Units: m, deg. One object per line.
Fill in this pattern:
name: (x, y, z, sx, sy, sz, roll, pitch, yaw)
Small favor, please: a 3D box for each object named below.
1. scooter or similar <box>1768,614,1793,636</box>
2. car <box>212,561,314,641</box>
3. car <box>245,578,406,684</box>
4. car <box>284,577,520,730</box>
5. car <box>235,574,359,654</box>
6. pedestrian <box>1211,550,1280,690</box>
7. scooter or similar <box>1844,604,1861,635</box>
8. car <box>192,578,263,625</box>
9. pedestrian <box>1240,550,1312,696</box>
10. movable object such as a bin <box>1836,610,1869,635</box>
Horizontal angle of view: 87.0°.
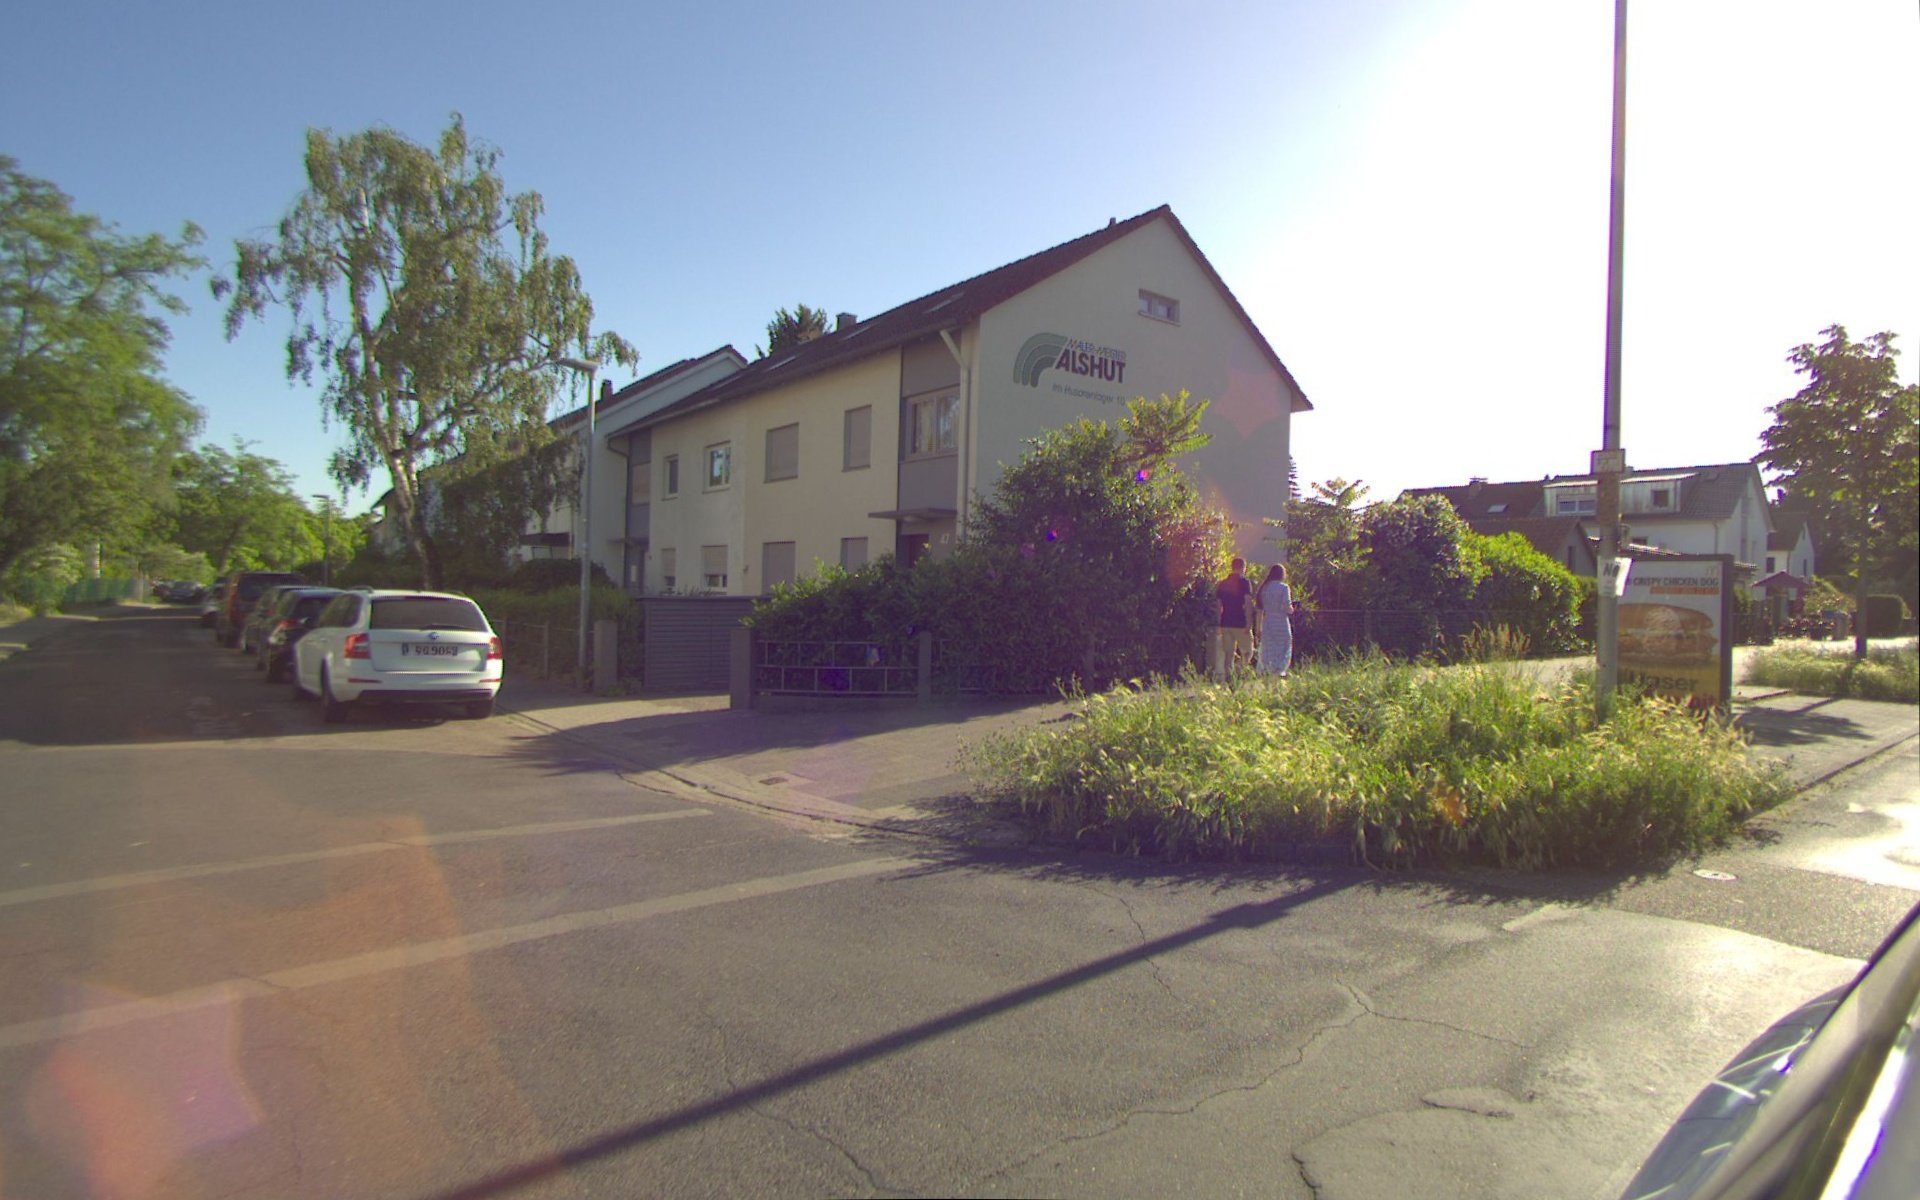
scooter or similar: (30.204, 0.913, 37.269, 1.207, 0.725, 0.450, 0, 5, -41)
car: (-17.505, 0.014, 25.346, 1.773, 1.816, 3.952, 2, -1, -39)
car: (-10.543, 0.435, 16.686, 1.773, 1.521, 3.952, 2, -1, -39)
car: (-6.888, 0.517, 12.270, 1.773, 1.521, 4.204, 2, -1, -39)
car: (-14.097, 0.257, 21.429, 1.773, 1.521, 3.952, 2, -1, -39)
pedestrian: (3.696, 0.250, 13.126, 0.626, 1.754, 0.609, 0, -1, -23)
scooter or similar: (39.897, 0.867, 45.244, 0.454, 1.311, 0.502, 1, 1, -43)
car: (-25.717, 0.045, 35.476, 1.773, 1.521, 3.952, 2, -1, -39)
pedestrian: (3.921, 0.278, 12.566, 0.647, 1.755, 0.557, 0, -1, -23)
movable object such as a bin: (48.569, 1.205, 55.073, 0.912, 1.310, 1.171, 1, 2, -40)
